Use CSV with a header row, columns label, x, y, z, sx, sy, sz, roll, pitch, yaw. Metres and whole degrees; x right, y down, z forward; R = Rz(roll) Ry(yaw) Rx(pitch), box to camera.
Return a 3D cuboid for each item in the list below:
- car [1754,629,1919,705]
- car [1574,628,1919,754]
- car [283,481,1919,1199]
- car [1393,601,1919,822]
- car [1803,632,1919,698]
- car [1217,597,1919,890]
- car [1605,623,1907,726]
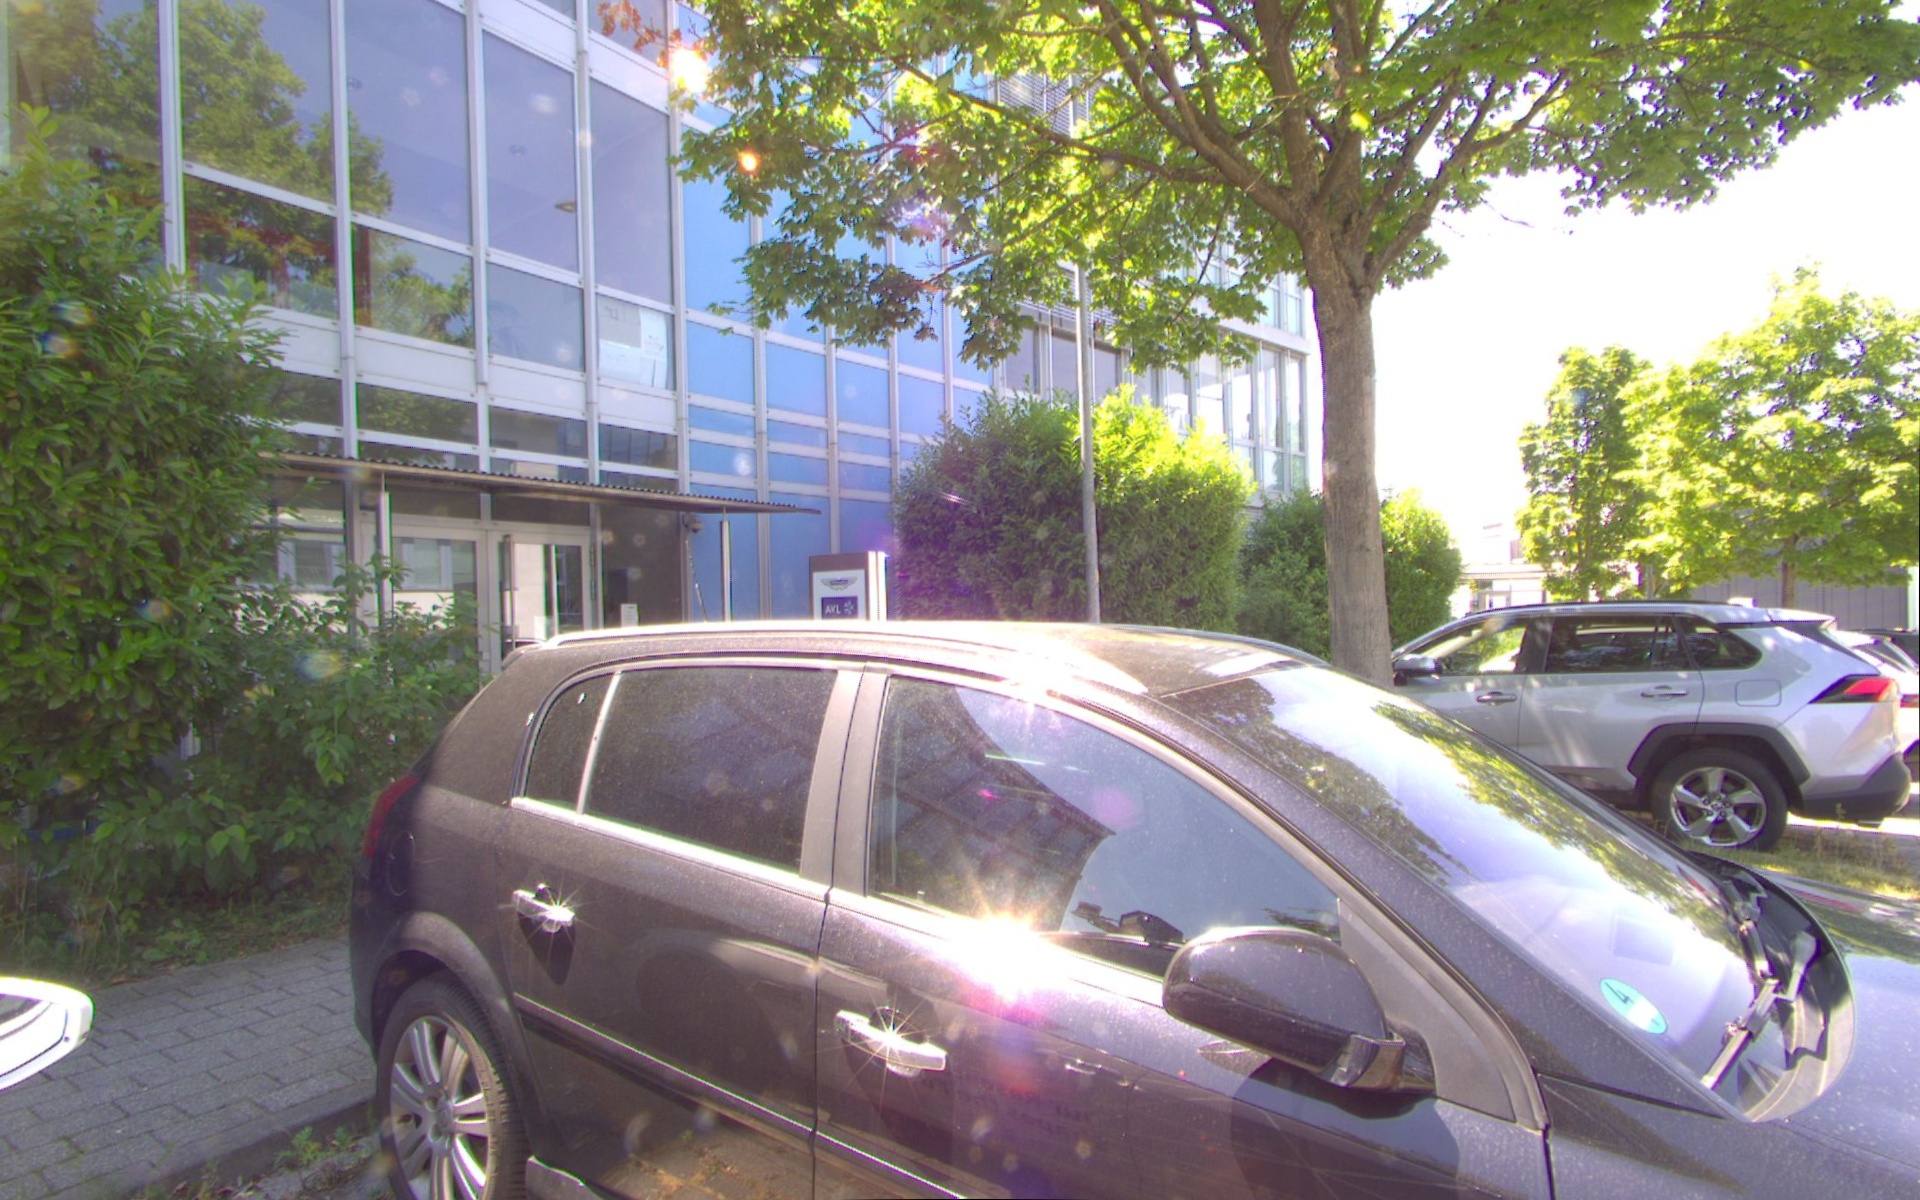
label,x,y,z,sx,sy,sz,roll,pitch,yaw
car,20.209,1.463,22.348,1.614,1.545,3.566,1,-1,-34
car,11.422,1.196,14.407,1.645,1.505,4.136,2,-1,-44
car,0.468,0.728,2.117,4.506,1.569,1.753,-1,-2,36
car,6.463,0.872,9.360,4.150,1.664,1.649,0,-1,39
car,22.278,1.526,23.466,1.614,1.462,3.566,1,-1,-34
car,4.389,0.835,7.748,4.278,1.664,1.844,0,-1,39
car,14.682,1.291,18.678,1.641,1.626,4.145,1,-1,-38
